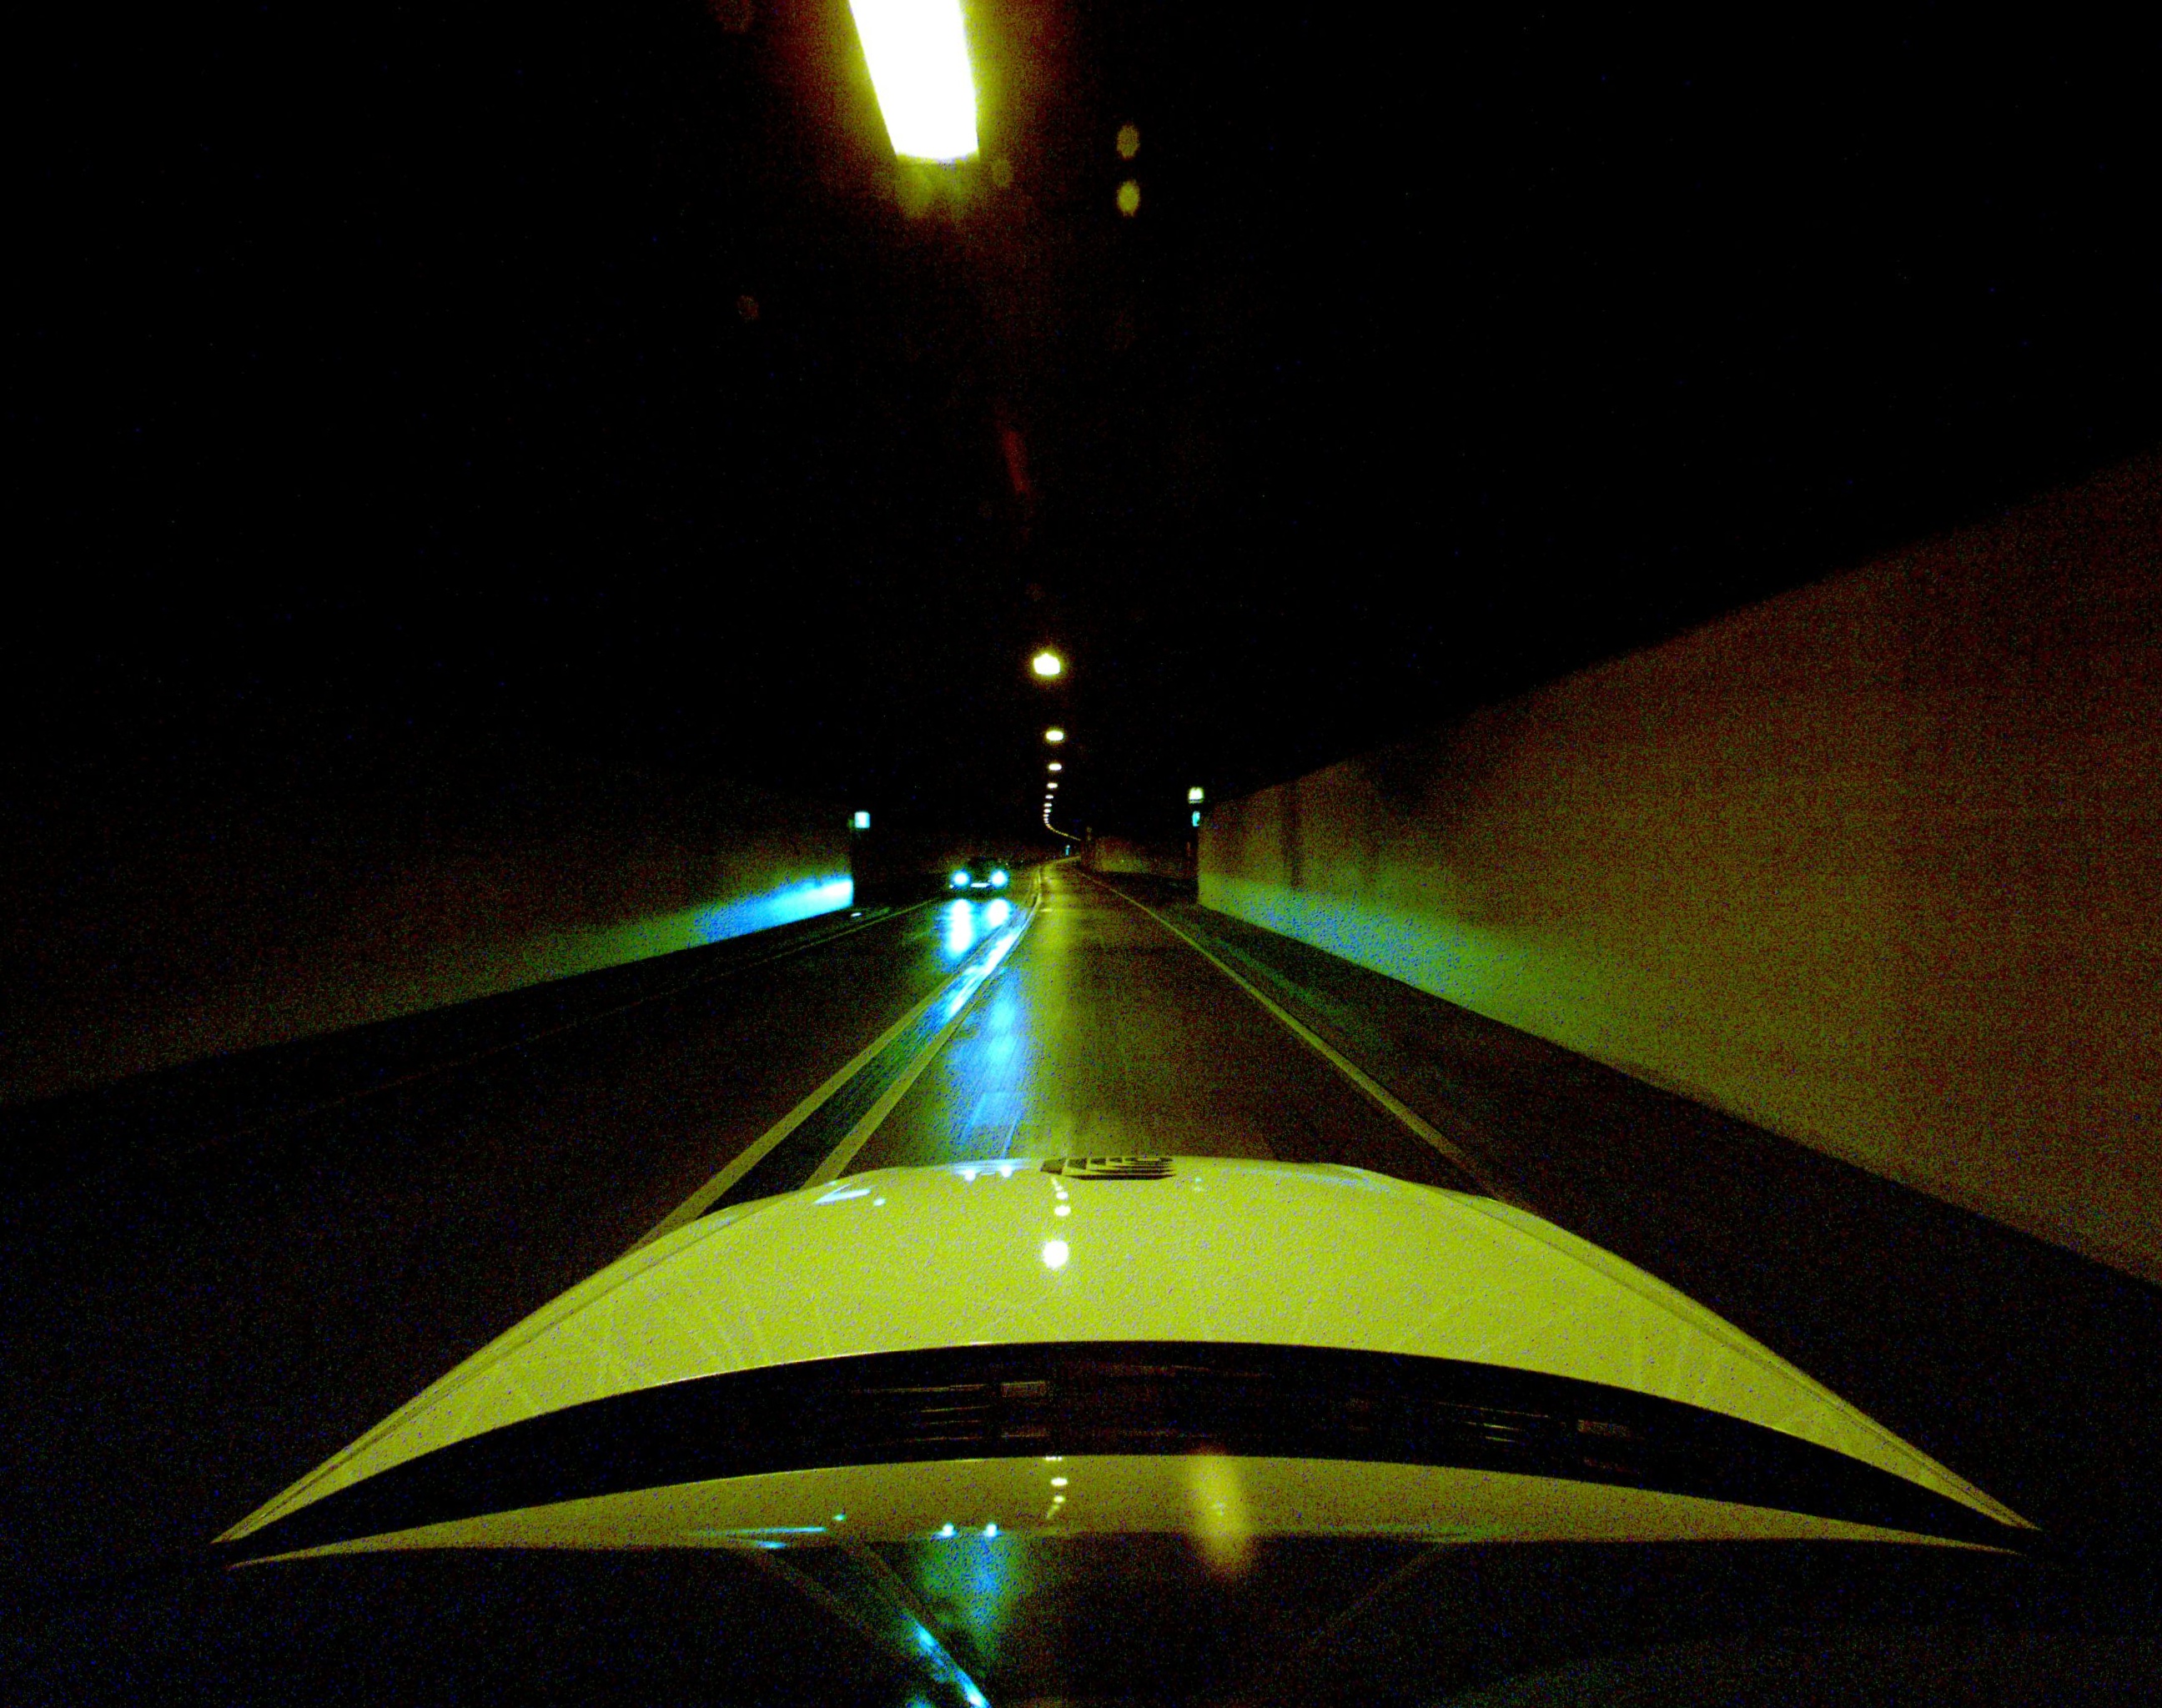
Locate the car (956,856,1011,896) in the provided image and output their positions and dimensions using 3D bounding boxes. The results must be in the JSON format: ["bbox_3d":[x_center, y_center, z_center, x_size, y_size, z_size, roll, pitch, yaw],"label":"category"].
[{"bbox_3d":[-3.693,0.796,31.356,1.702,1.416,4.115,0,0,-1],"label":"car"}]
